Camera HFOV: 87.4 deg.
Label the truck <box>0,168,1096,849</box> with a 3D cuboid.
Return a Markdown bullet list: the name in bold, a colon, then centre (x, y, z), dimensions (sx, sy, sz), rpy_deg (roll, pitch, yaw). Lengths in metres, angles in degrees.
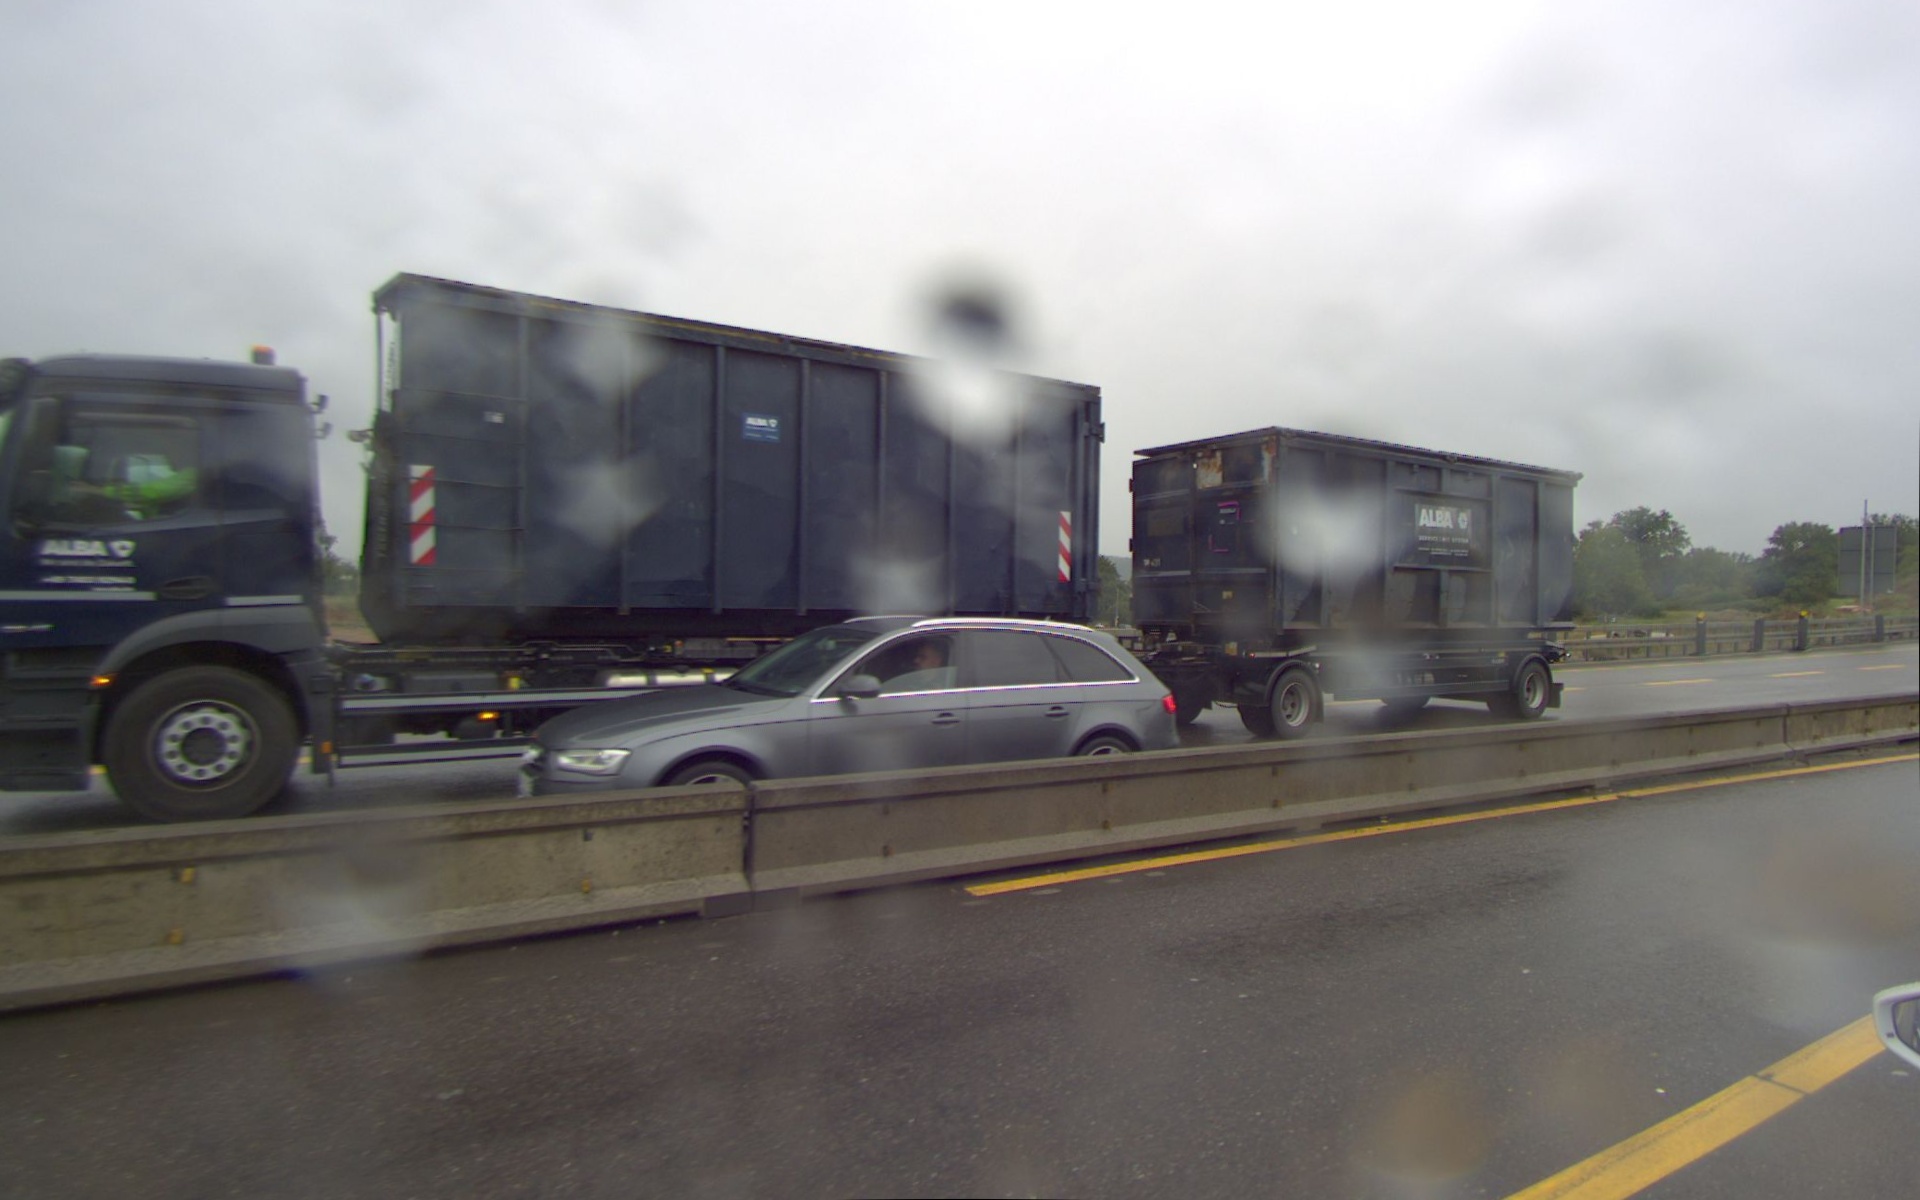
- **truck**: centre (-3.143, -0.468, 9.087), dimensions (9.111, 4.023, 2.627), rpy_deg (1, 0, -32)

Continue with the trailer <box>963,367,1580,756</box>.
- **trailer**: centre (4.816, -0.315, 14.136), dimensions (9.567, 4.023, 2.731), rpy_deg (1, 0, -32)

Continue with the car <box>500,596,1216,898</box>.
- **car**: centre (-0.551, 0.781, 6.990), dimensions (4.619, 1.491, 1.858), rpy_deg (2, -1, -32)
